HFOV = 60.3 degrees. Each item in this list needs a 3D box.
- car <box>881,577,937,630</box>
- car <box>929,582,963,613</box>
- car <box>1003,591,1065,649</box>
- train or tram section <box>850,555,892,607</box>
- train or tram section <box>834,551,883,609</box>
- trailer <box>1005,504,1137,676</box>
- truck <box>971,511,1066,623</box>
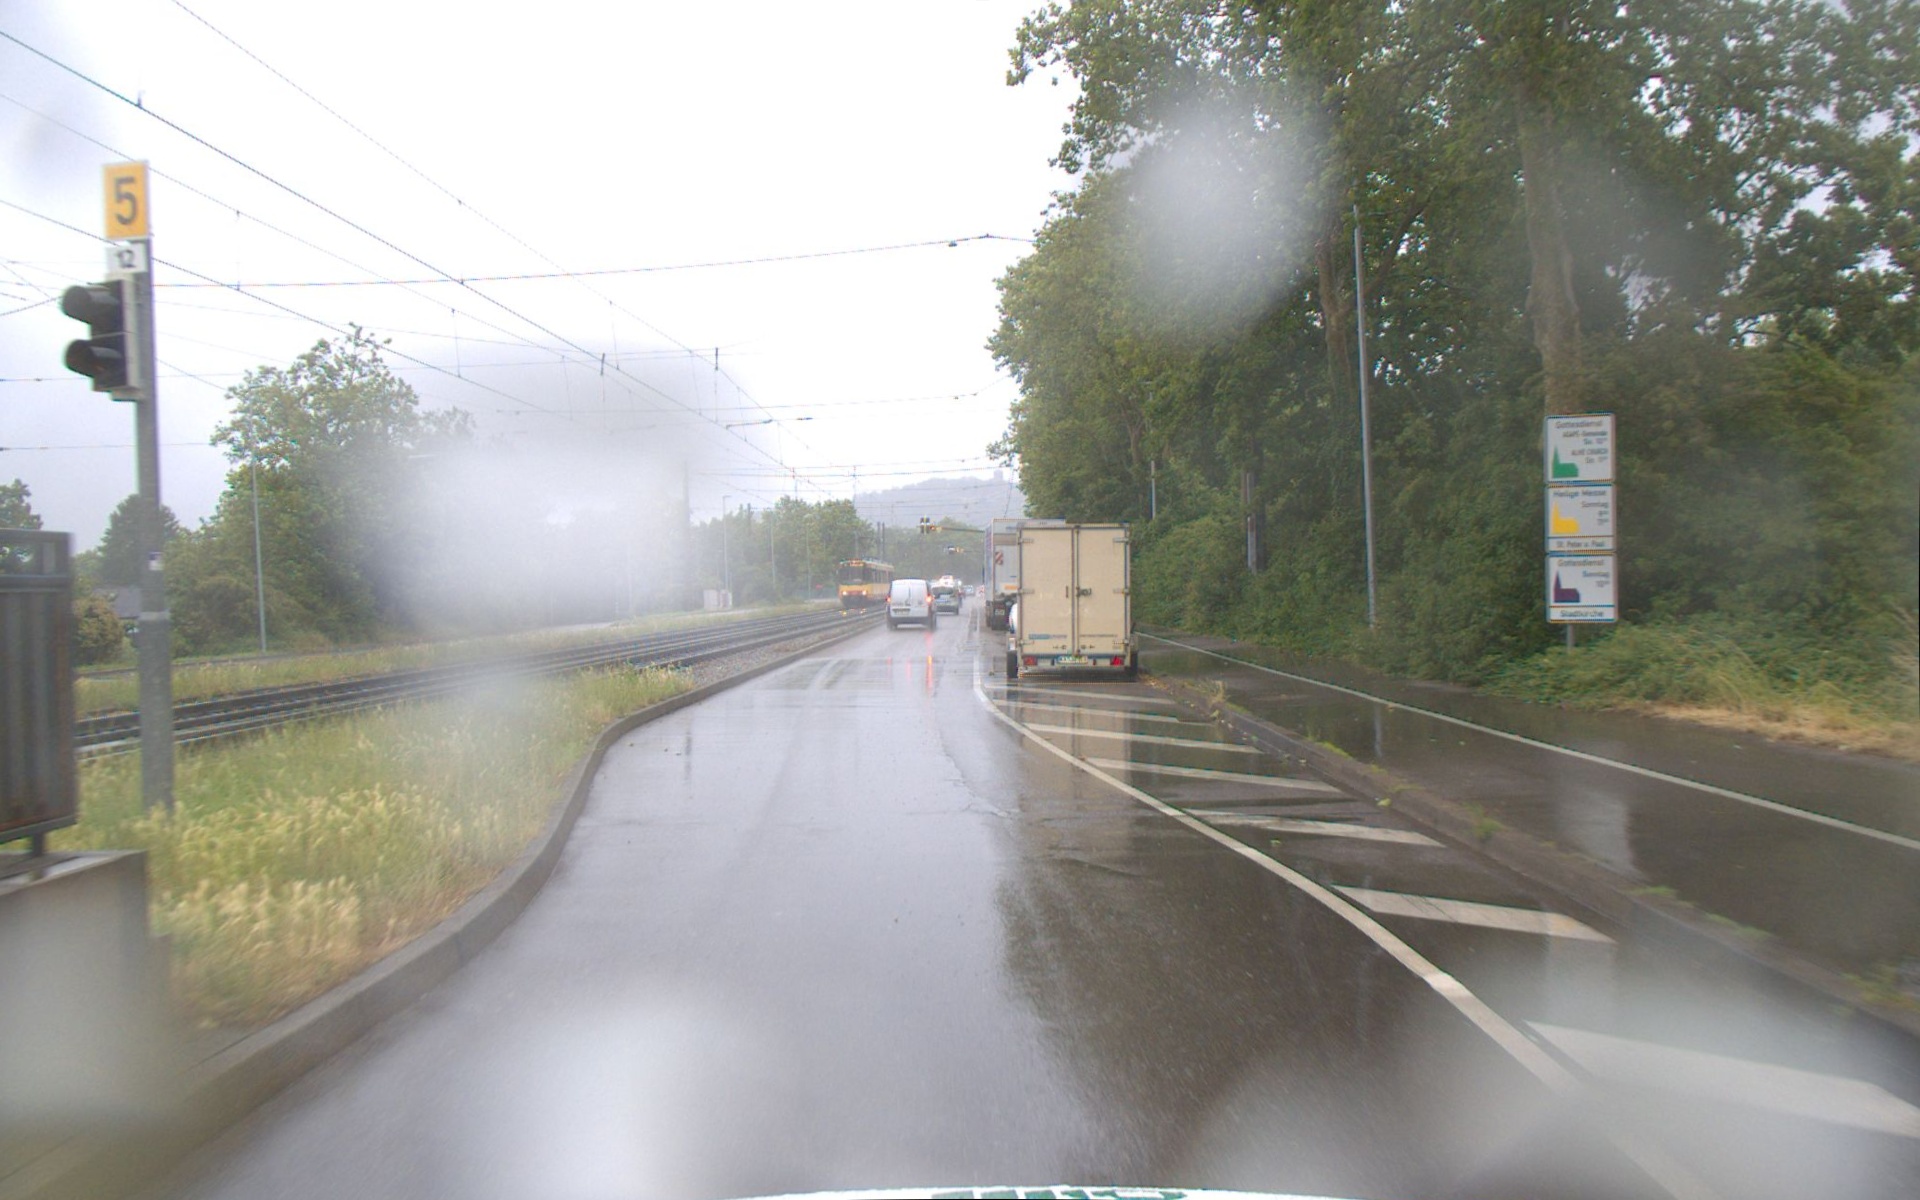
[{"bbox_3d":[-1.952,0.113,61.954,1.954,1.881,3.997,-1,0,-3],"label":"car"},{"bbox_3d":[-0.751,-0.115,91.479,1.749,1.671,3.968,-1,0,1],"label":"car"},{"bbox_3d":[2.157,0.543,47.924,1.677,1.555,4.002,-1,0,3],"label":"car"},{"bbox_3d":[-7.616,-1.607,143.320,2.748,4.222,13.020,-1,0,1],"label":"train or tram section"},{"bbox_3d":[-7.858,-1.550,129.658,2.749,4.222,13.021,-1,0,1],"label":"train or tram section"},{"bbox_3d":[1.978,-0.153,30.069,2.120,2.806,5.679,-1,0,3],"label":"trailer"},{"bbox_3d":[2.021,-1.110,61.179,2.720,3.769,9.847,-1,0,-2],"label":"truck"}]
